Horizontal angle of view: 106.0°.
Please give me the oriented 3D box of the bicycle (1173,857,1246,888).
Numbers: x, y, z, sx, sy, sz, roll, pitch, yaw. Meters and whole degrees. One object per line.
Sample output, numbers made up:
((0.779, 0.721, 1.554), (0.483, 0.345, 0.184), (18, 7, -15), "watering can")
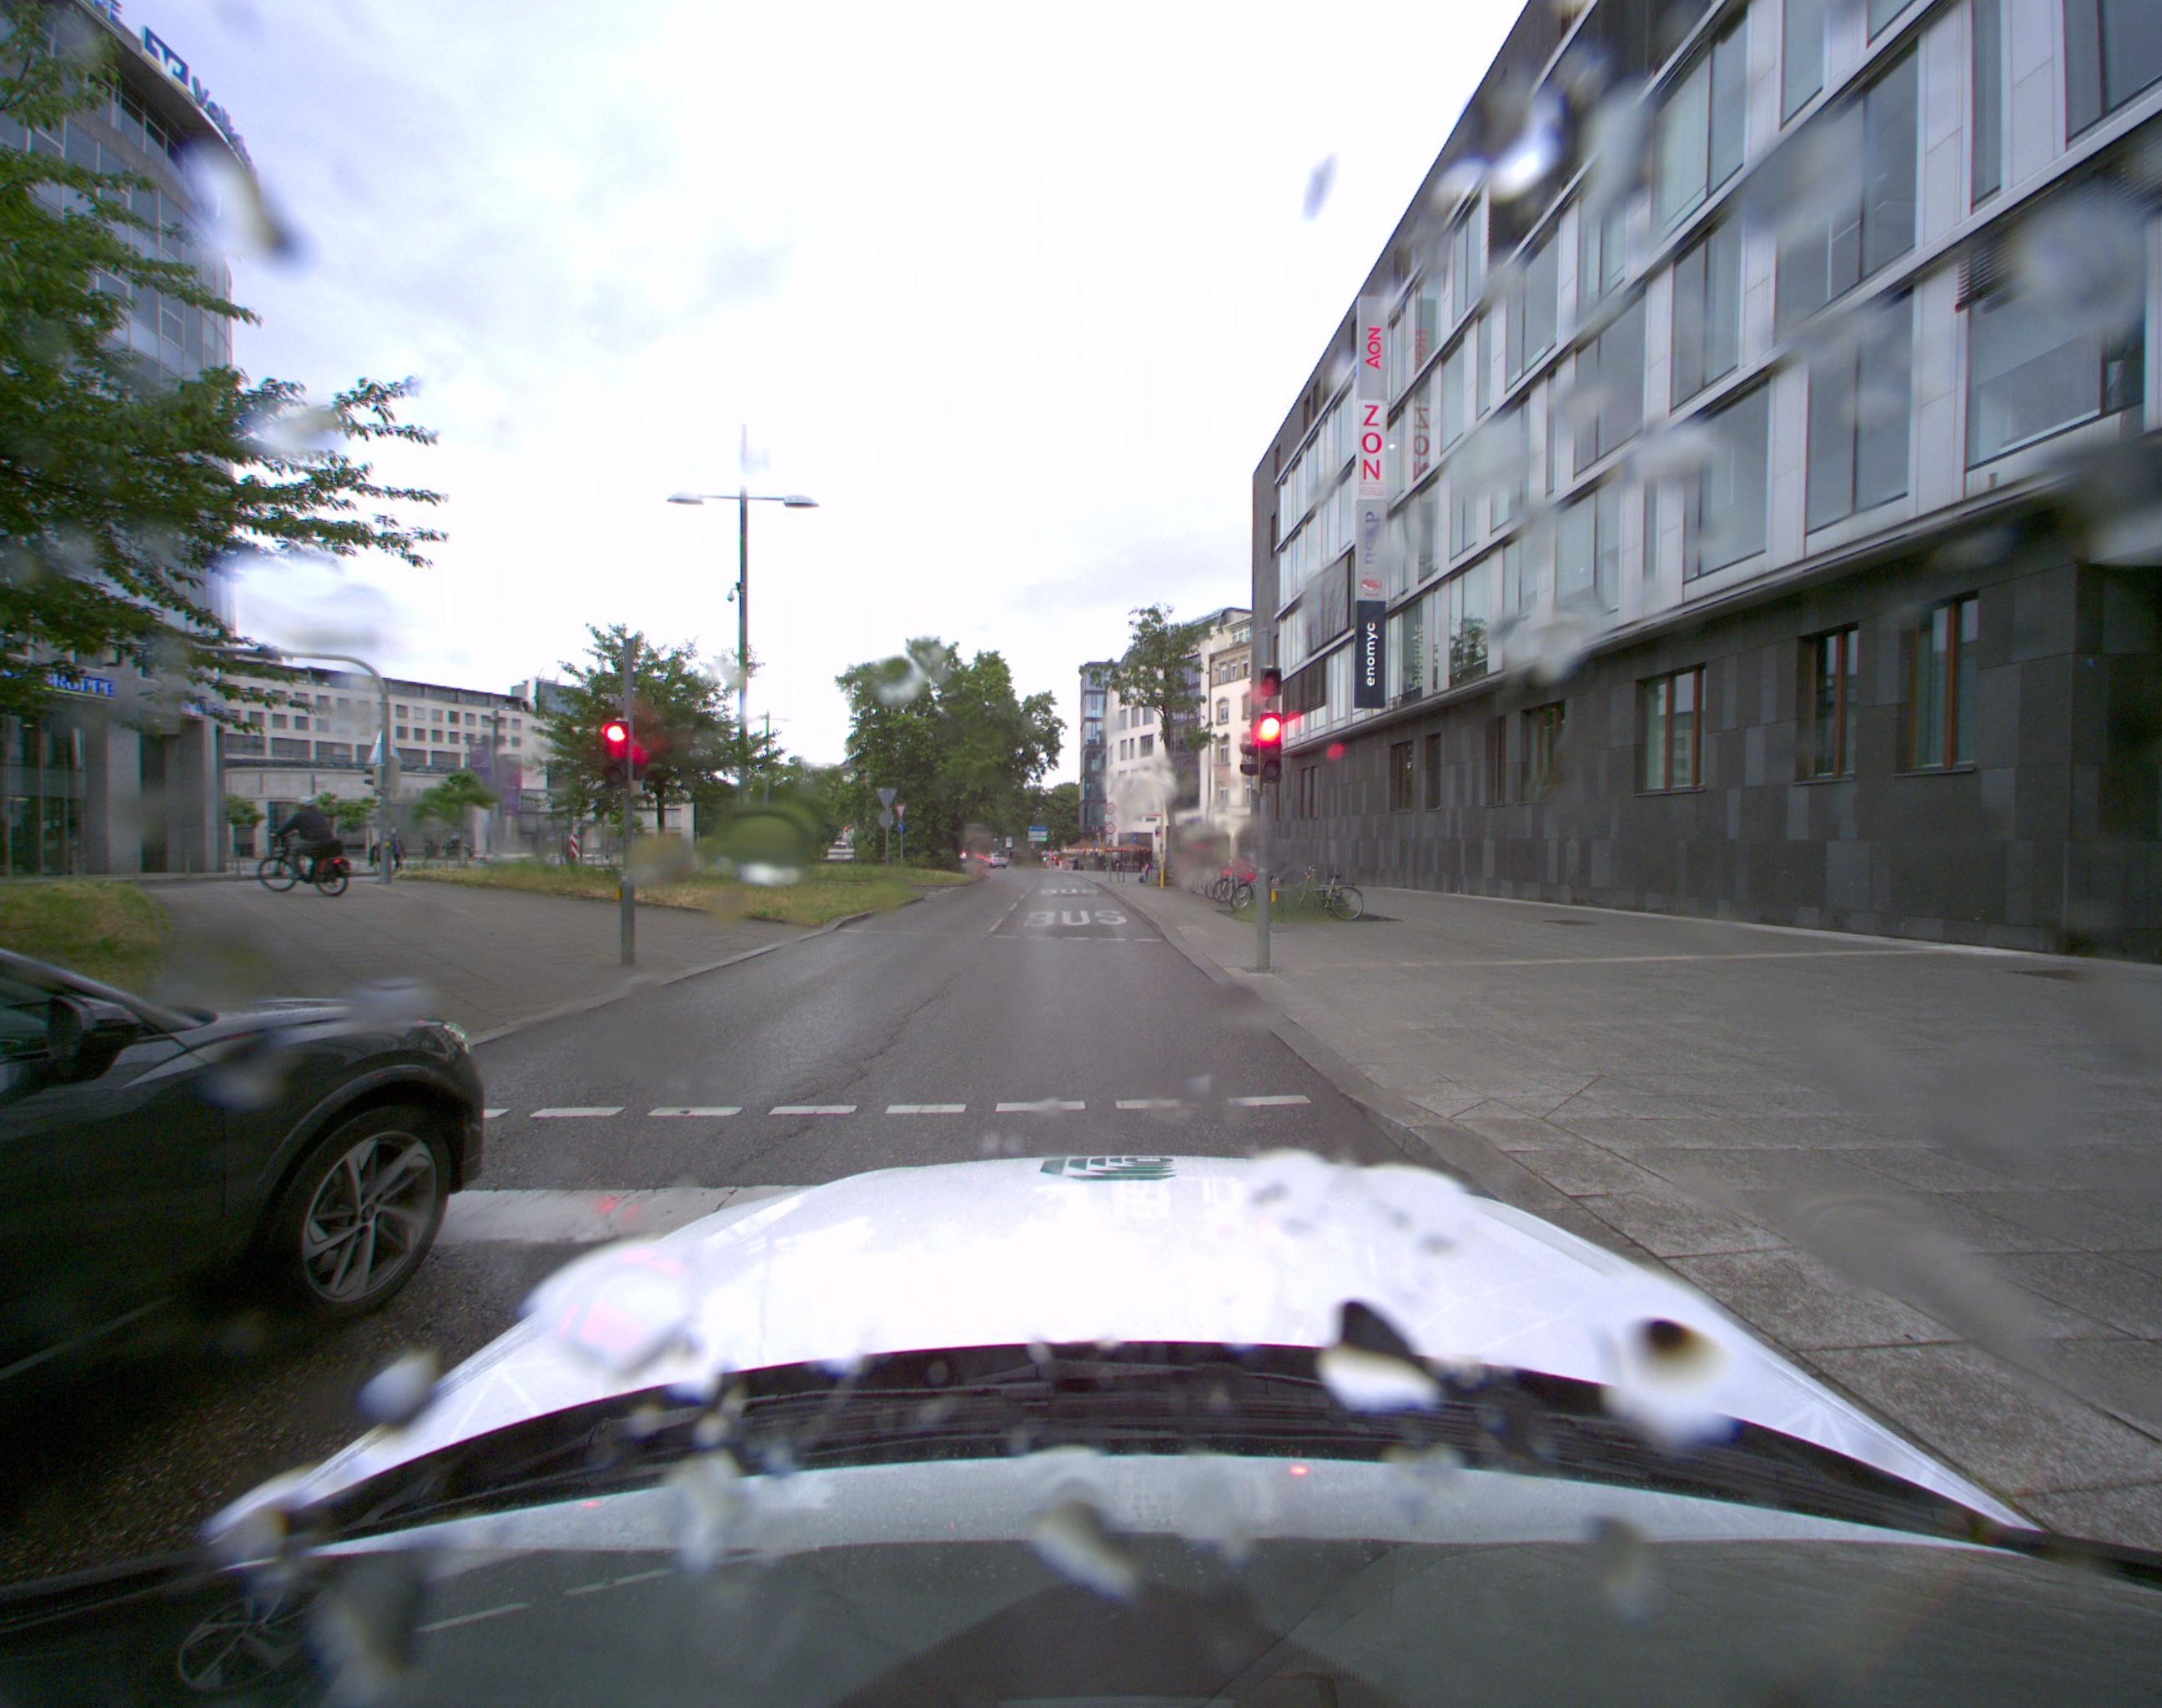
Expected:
((4.648, 0.663, 29.558), (2.530, 1.087, 0.627), (-1, 0, -3), "bicycle")

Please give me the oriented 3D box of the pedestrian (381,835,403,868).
((-37.659, -0.143, 44.533), (0.621, 1.763, 0.721), (-2, 0, -17), "pedestrian")

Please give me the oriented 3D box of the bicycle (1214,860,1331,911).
((4.398, 0.719, 18.765), (2.530, 1.087, 0.677), (2, 0, -3), "bicycle")

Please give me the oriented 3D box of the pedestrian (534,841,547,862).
((-54.799, -0.249, 82.582), (0.790, 2.014, 0.737), (2, 0, -13), "pedestrian")

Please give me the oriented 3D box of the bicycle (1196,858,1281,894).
((4.933, 0.667, 25.598), (2.530, 1.087, 0.677), (-1, 0, -3), "bicycle")

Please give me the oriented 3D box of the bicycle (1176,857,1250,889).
((4.660, 0.654, 28.835), (2.530, 1.087, 0.677), (-1, 0, -3), "bicycle")

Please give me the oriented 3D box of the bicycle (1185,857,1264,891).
((4.779, 0.652, 27.195), (2.530, 1.087, 0.677), (-1, 0, -3), "bicycle")

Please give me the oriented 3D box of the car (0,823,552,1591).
((-3.180, 0.734, 1.353), (1.842, 1.616, 4.251), (1, 1, -1), "car")

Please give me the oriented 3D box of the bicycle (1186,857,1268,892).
((4.720, 0.668, 26.443), (2.530, 1.087, 0.677), (-1, 0, -3), "bicycle")

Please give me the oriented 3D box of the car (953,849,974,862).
((-16.206, 0.172, 112.031), (2.185, 1.700, 3.975), (0, 0, -18), "car")

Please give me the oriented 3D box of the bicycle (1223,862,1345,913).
((4.449, 0.726, 17.959), (2.530, 1.087, 0.677), (0, 0, -3), "bicycle")

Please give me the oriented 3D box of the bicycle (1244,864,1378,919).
((4.629, 0.745, 16.477), (2.530, 1.057, 0.677), (0, 0, -3), "bicycle")

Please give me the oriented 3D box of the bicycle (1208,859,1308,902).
((4.691, 0.697, 21.650), (2.530, 1.087, 0.677), (-1, 0, -3), "bicycle")

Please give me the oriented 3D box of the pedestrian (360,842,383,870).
((-38.636, 0.115, 44.355), (0.731, 1.516, 0.686), (-2, 0, -22), "pedestrian")

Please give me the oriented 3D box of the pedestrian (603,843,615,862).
((-50.744, -0.135, 87.543), (0.786, 2.014, 0.741), (2, 0, 3), "pedestrian")

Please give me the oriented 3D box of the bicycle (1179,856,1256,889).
((4.683, 0.641, 28.086), (2.530, 1.087, 0.677), (-1, 0, -3), "bicycle")

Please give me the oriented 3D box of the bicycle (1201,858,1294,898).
((4.783, 0.684, 23.425), (2.530, 1.087, 0.677), (-1, 0, -3), "bicycle")

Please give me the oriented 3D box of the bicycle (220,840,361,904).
((-15.773, 0.340, 16.277), (2.116, 1.145, 0.764), (3, 1, 4), "bicycle")

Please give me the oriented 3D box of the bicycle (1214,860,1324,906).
((4.596, 0.701, 19.986), (2.530, 1.087, 0.677), (-1, 0, -3), "bicycle")

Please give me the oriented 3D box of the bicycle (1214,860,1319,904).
((4.722, 0.701, 20.839), (2.530, 1.087, 0.677), (-1, 0, -3), "bicycle")

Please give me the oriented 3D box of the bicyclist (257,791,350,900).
((-15.516, -0.178, 16.266), (1.077, 2.082, 0.764), (3, 1, 4), "bicyclist")

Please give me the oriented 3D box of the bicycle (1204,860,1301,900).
((4.725, 0.699, 22.517), (2.530, 1.060, 0.677), (-1, 0, -3), "bicycle")

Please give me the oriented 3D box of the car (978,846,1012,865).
((-8.987, 0.143, 85.086), (2.005, 1.647, 3.963), (4, 0, -29), "car")

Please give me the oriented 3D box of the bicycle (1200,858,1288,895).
((4.913, 0.669, 24.620), (2.530, 1.087, 0.677), (-1, 0, -3), "bicycle")
